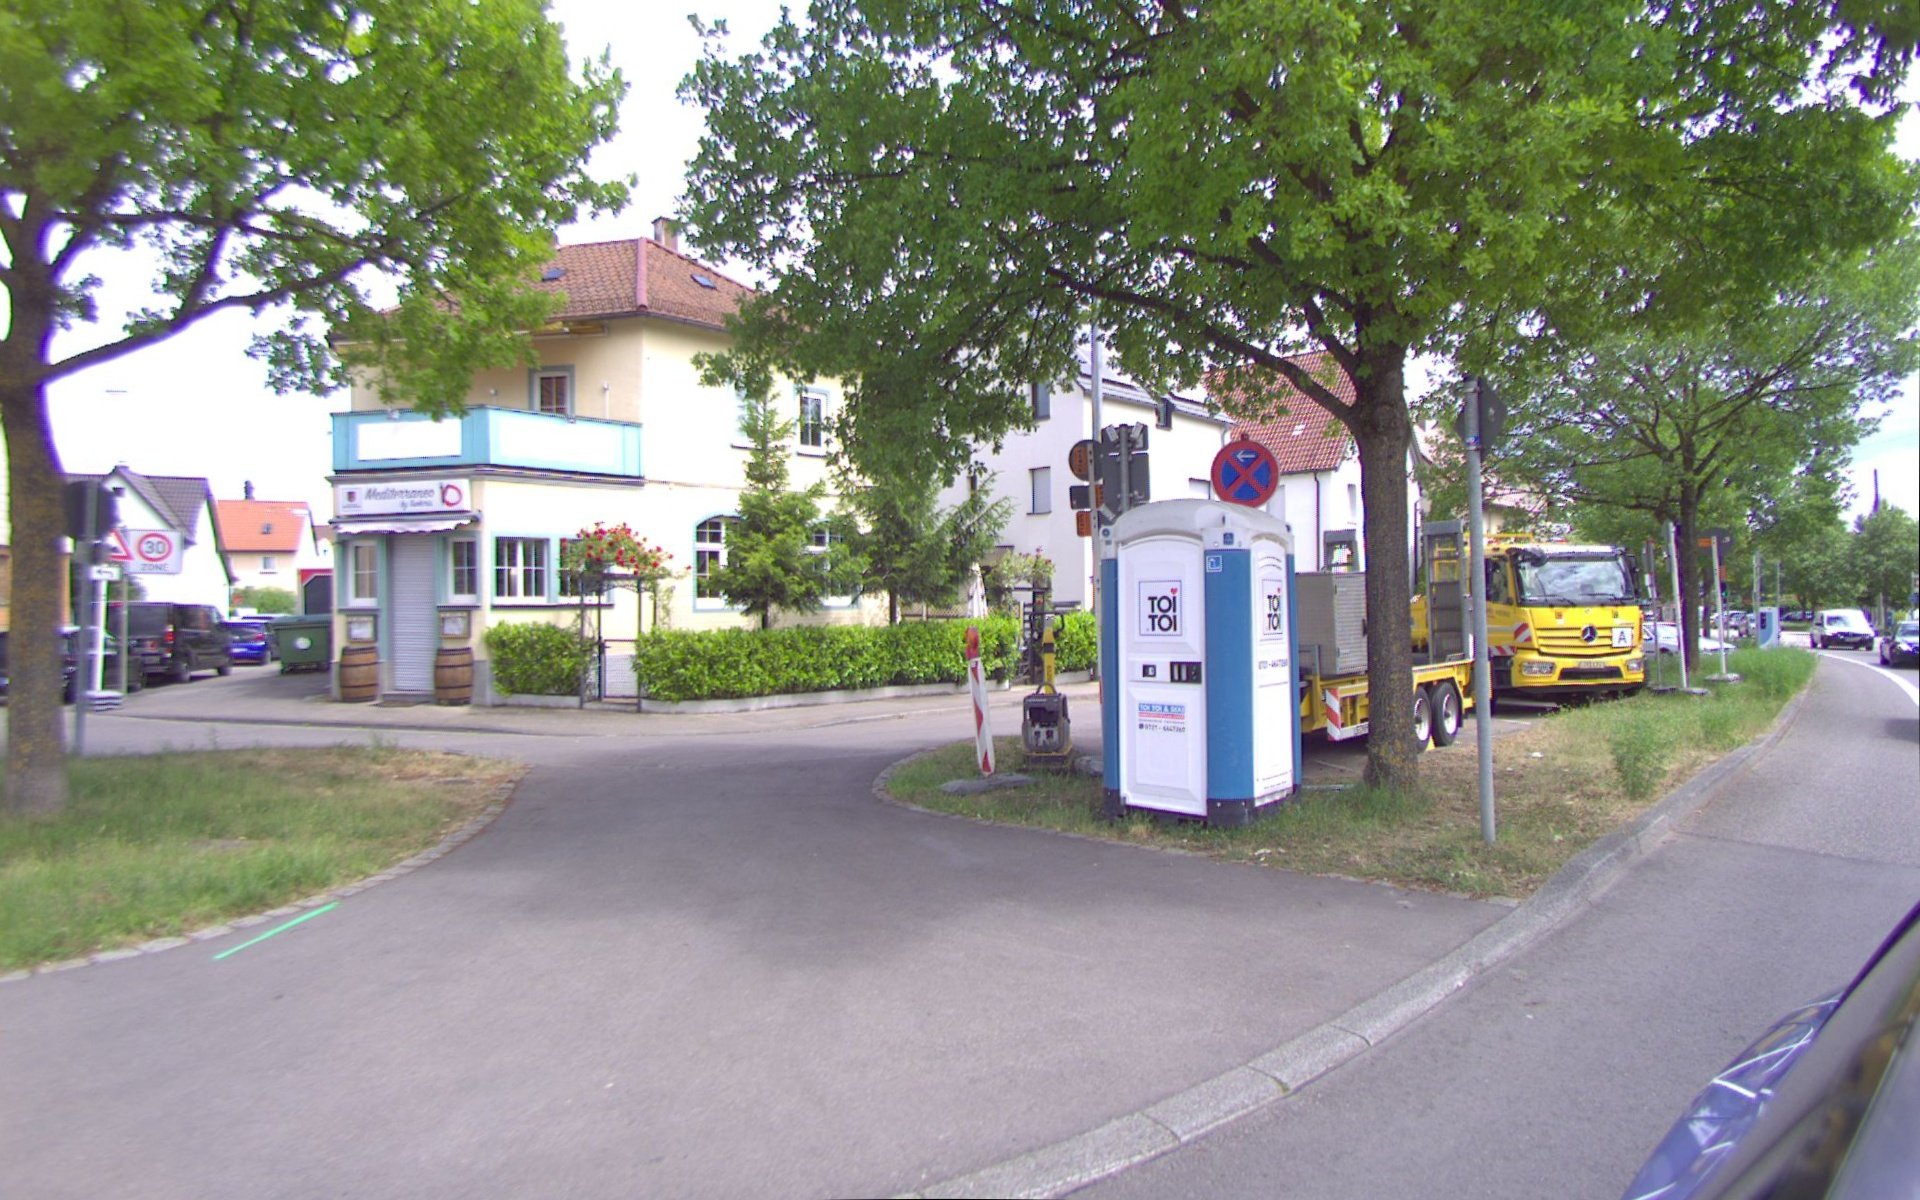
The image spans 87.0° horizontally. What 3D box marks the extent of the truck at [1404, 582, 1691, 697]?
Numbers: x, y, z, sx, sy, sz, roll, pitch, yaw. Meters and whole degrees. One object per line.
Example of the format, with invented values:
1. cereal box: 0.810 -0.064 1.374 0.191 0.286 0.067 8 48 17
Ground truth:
1. truck: 11.771 0.816 20.992 1.960 2.040 5.961 0 -2 -6

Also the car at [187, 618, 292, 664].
1. car: -23.428 1.286 33.062 1.958 1.378 3.884 1 -1 -22

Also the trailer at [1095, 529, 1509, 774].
1. trailer: 4.383 0.541 12.333 2.592 2.274 5.583 -3 -3 44

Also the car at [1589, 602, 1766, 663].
1. car: 21.205 0.910 30.182 1.960 1.598 4.311 1 0 -5

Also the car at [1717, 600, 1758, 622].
1. car: 65.049 0.897 84.722 1.980 1.751 4.065 0 -1 27

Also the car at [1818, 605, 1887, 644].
1. car: 41.523 1.090 47.162 1.988 1.751 4.050 0 -1 36

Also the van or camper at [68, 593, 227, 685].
1. van or camper: -19.482 0.882 24.493 1.814 2.024 4.099 1 -1 -21

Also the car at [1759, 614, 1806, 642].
1. car: 51.355 1.728 63.250 1.987 1.683 3.948 0 -1 36

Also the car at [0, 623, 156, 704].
1. car: -17.655 1.166 19.972 1.678 1.395 4.007 1 -1 -22

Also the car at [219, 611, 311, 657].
1. car: -25.088 1.190 36.670 1.958 1.573 3.884 1 -1 -22

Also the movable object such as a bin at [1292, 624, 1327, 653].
1. movable object such as a bin: 14.005 1.538 40.581 1.118 1.133 0.810 -1 -1 44

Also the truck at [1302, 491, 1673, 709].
1. truck: 9.042 0.192 18.454 2.294 3.241 6.639 1 -3 -11

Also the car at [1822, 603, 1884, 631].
1. car: 57.002 1.051 64.687 1.980 1.751 4.065 0 -1 27

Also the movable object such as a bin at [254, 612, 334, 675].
1. movable object such as a bin: -16.549 1.057 25.199 1.384 1.510 1.309 1 -1 -20
